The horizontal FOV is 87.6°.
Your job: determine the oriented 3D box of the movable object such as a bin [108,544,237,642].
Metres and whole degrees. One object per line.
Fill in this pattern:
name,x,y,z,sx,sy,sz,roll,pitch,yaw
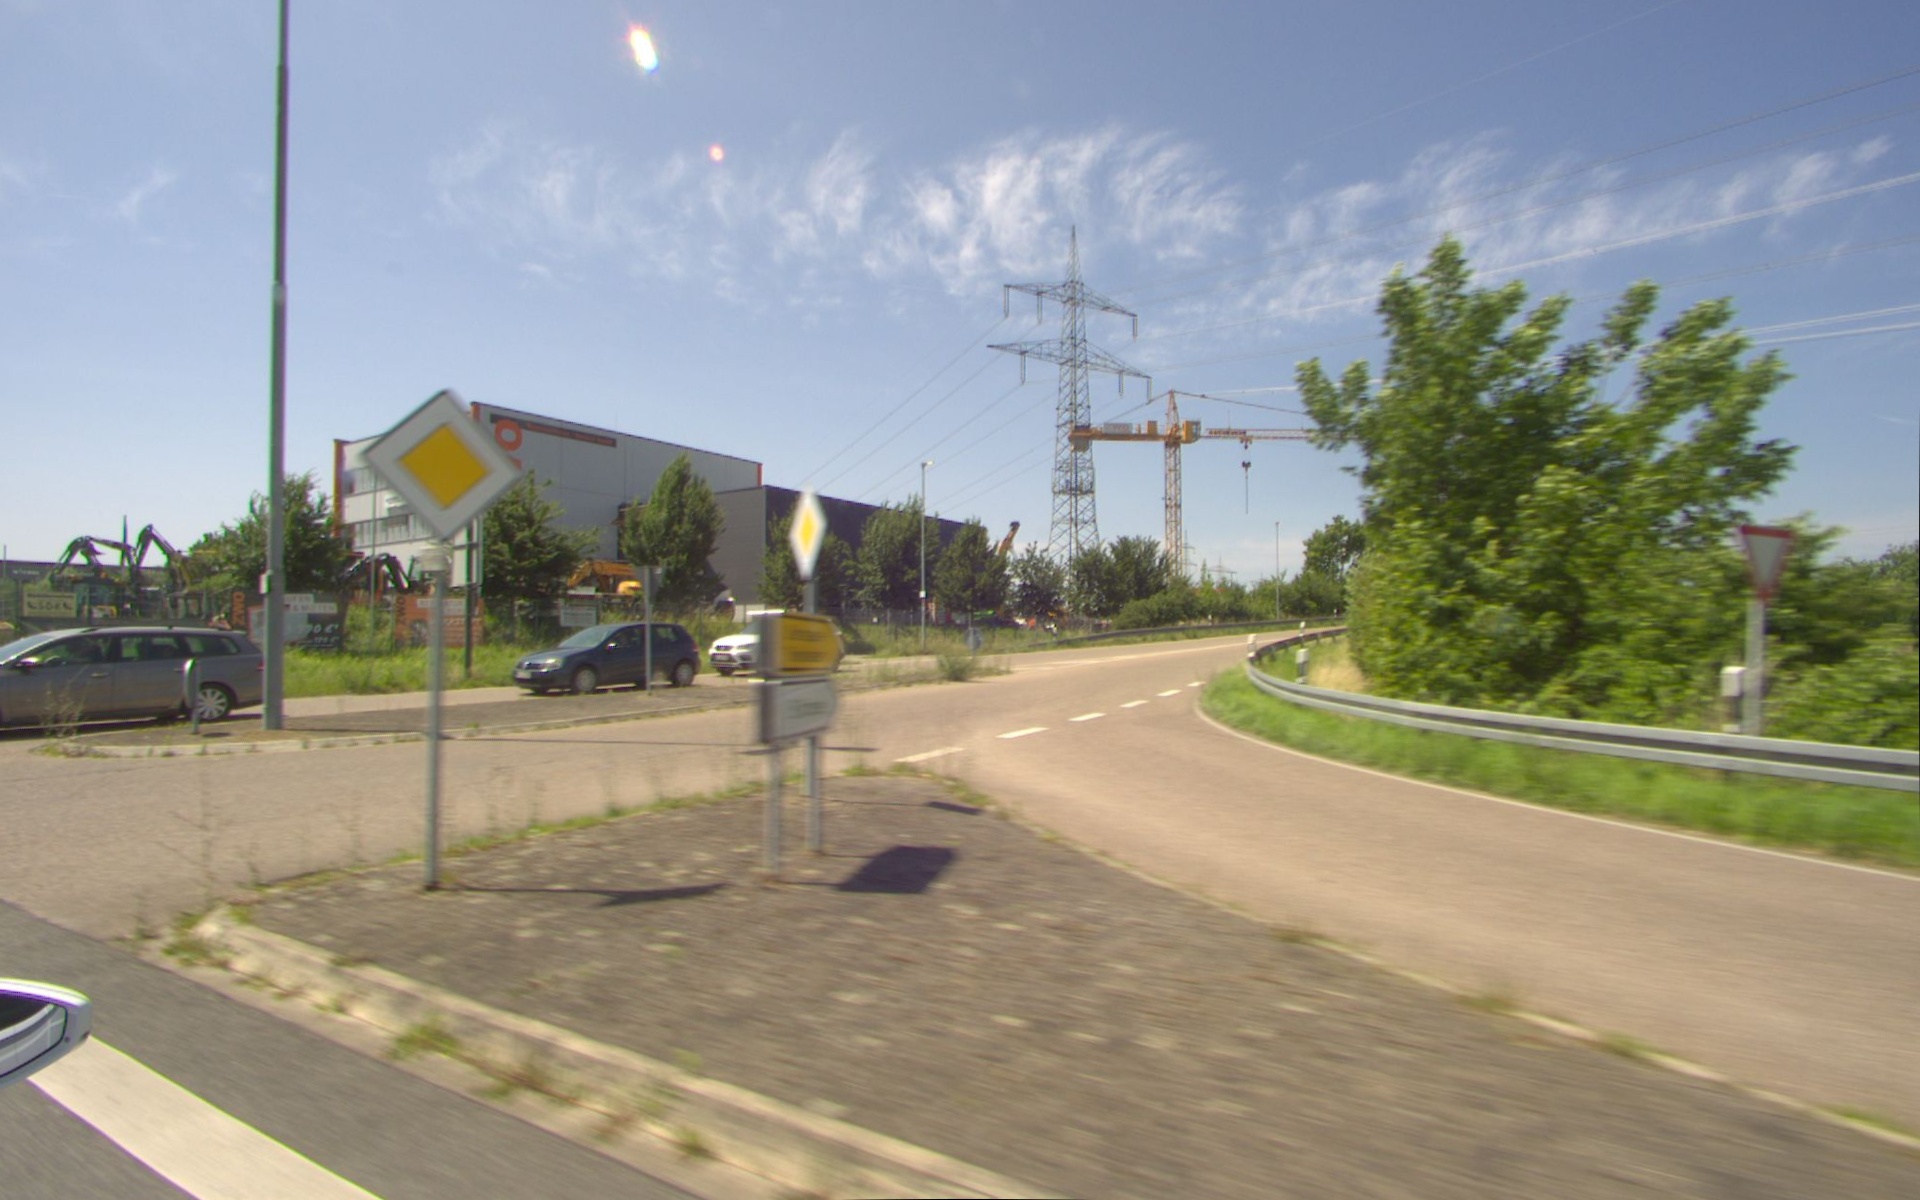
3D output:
movable object such as a bin,-45.042,-0.288,57.377,2.742,5.114,5.075,-3,-5,35

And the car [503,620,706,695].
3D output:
car,-7.580,1.178,21.702,1.613,1.459,3.989,-1,-1,34

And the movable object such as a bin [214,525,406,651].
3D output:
movable object such as a bin,-30.475,-0.341,47.234,3.757,5.208,6.578,-3,-5,35

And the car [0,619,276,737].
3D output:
car,-12.766,1.055,14.378,1.887,1.527,4.503,-1,-2,33

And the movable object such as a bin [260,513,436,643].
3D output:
movable object such as a bin,-27.356,-0.788,44.989,3.068,5.165,5.907,-3,-5,35

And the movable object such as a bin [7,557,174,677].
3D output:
movable object such as a bin,-26.090,0.643,30.030,5.030,3.288,2.321,-3,-5,32

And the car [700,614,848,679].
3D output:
car,-5.159,1.253,28.260,1.734,1.643,4.074,1,0,34

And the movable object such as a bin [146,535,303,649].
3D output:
movable object such as a bin,-37.983,-0.217,51.889,3.179,5.331,5.705,-3,-5,35

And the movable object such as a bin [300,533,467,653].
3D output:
movable object such as a bin,-23.217,-0.128,40.503,2.797,4.325,5.075,-3,-5,35
